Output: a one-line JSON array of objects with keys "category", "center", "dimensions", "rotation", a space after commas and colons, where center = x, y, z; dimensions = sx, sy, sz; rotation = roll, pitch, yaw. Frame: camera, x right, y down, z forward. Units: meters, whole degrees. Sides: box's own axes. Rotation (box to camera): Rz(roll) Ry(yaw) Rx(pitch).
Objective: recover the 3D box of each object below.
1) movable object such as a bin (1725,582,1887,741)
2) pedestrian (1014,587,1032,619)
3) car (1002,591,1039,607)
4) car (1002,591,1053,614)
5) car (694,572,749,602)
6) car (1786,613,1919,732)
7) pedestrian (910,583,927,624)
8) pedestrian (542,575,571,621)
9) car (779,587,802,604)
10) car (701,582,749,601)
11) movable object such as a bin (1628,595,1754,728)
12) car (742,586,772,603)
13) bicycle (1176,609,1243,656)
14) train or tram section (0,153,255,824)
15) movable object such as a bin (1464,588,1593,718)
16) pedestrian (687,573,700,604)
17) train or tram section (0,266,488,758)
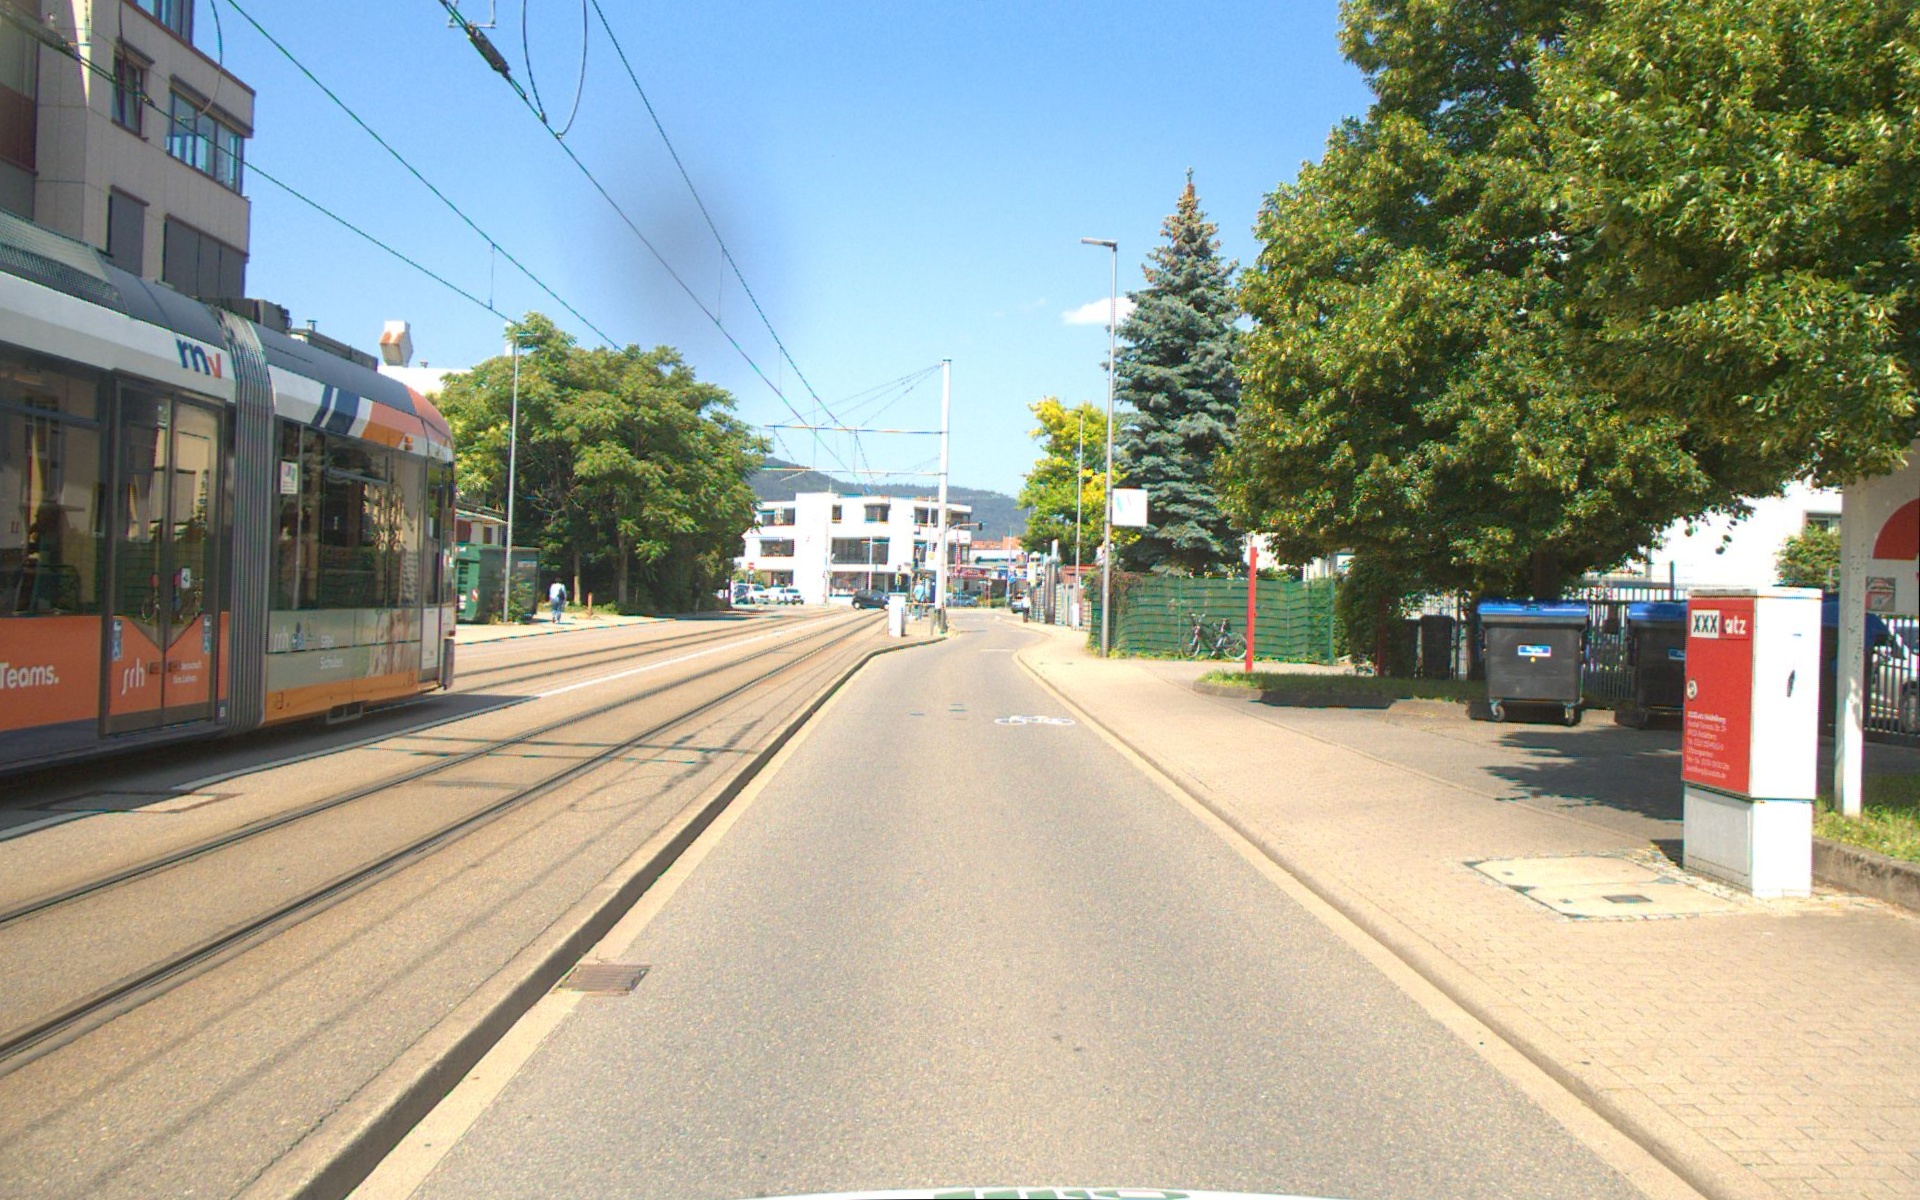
[{"category": "movable object such as a bin", "center": [8.872, 0.644, 17.402], "dimensions": [0.959, 1.574, 1.319], "rotation": [2, -2, -5]}, {"category": "pedestrian", "center": [3.683, 0.177, 96.827], "dimensions": [0.921, 1.818, 0.953], "rotation": [2, 1, -2]}, {"category": "car", "center": [6.655, -0.066, 181.595], "dimensions": [1.834, 1.691, 3.972], "rotation": [1, 0, 44]}, {"category": "car", "center": [5.713, 0.209, 140.046], "dimensions": [3.948, 1.780, 1.756], "rotation": [2, 0, -32]}, {"category": "car", "center": [-17.240, -0.938, 119.722], "dimensions": [1.826, 1.971, 3.991], "rotation": [4, 1, 31]}, {"category": "car", "center": [13.189, 0.974, 22.665], "dimensions": [1.707, 1.485, 4.000], "rotation": [1, 0, 0]}, {"category": "pedestrian", "center": [-1.860, 0.159, 73.556], "dimensions": [0.728, 1.771, 0.727], "rotation": [1, 0, -1]}, {"category": "pedestrian", "center": [-14.005, -0.059, 57.429], "dimensions": [0.817, 1.564, 0.838], "rotation": [1, 0, -1]}, {"category": "car", "center": [-16.484, -0.435, 160.858], "dimensions": [1.726, 1.676, 3.749], "rotation": [1, 0, -13]}, {"category": "car", "center": [-20.849, -0.750, 146.664], "dimensions": [3.907, 1.579, 1.791], "rotation": [1, 0, 24]}, {"category": "movable object such as a bin", "center": [8.461, 0.703, 19.165], "dimensions": [1.290, 1.455, 0.884], "rotation": [1, -2, 24]}, {"category": "car", "center": [-20.670, -0.548, 168.481], "dimensions": [1.904, 1.676, 3.729], "rotation": [1, 0, -27]}, {"category": "bicycle", "center": [5.604, 0.738, 37.222], "dimensions": [1.441, 1.008, 0.388], "rotation": [1, -3, -2]}, {"category": "train or tram section", "center": [-6.286, -0.596, 8.291], "dimensions": [2.528, 3.507, 7.135], "rotation": [1, 0, -1]}, {"category": "movable object such as a bin", "center": [6.769, 0.625, 19.667], "dimensions": [1.356, 1.455, 0.990], "rotation": [1, -2, 24]}, {"category": "pedestrian", "center": [-13.823, -0.586, 85.848], "dimensions": [0.572, 1.564, 0.657], "rotation": [1, 0, -1]}, {"category": "train or tram section", "center": [-6.443, -0.646, 15.066], "dimensions": [2.528, 3.507, 6.361], "rotation": [1, 0, -1]}]
